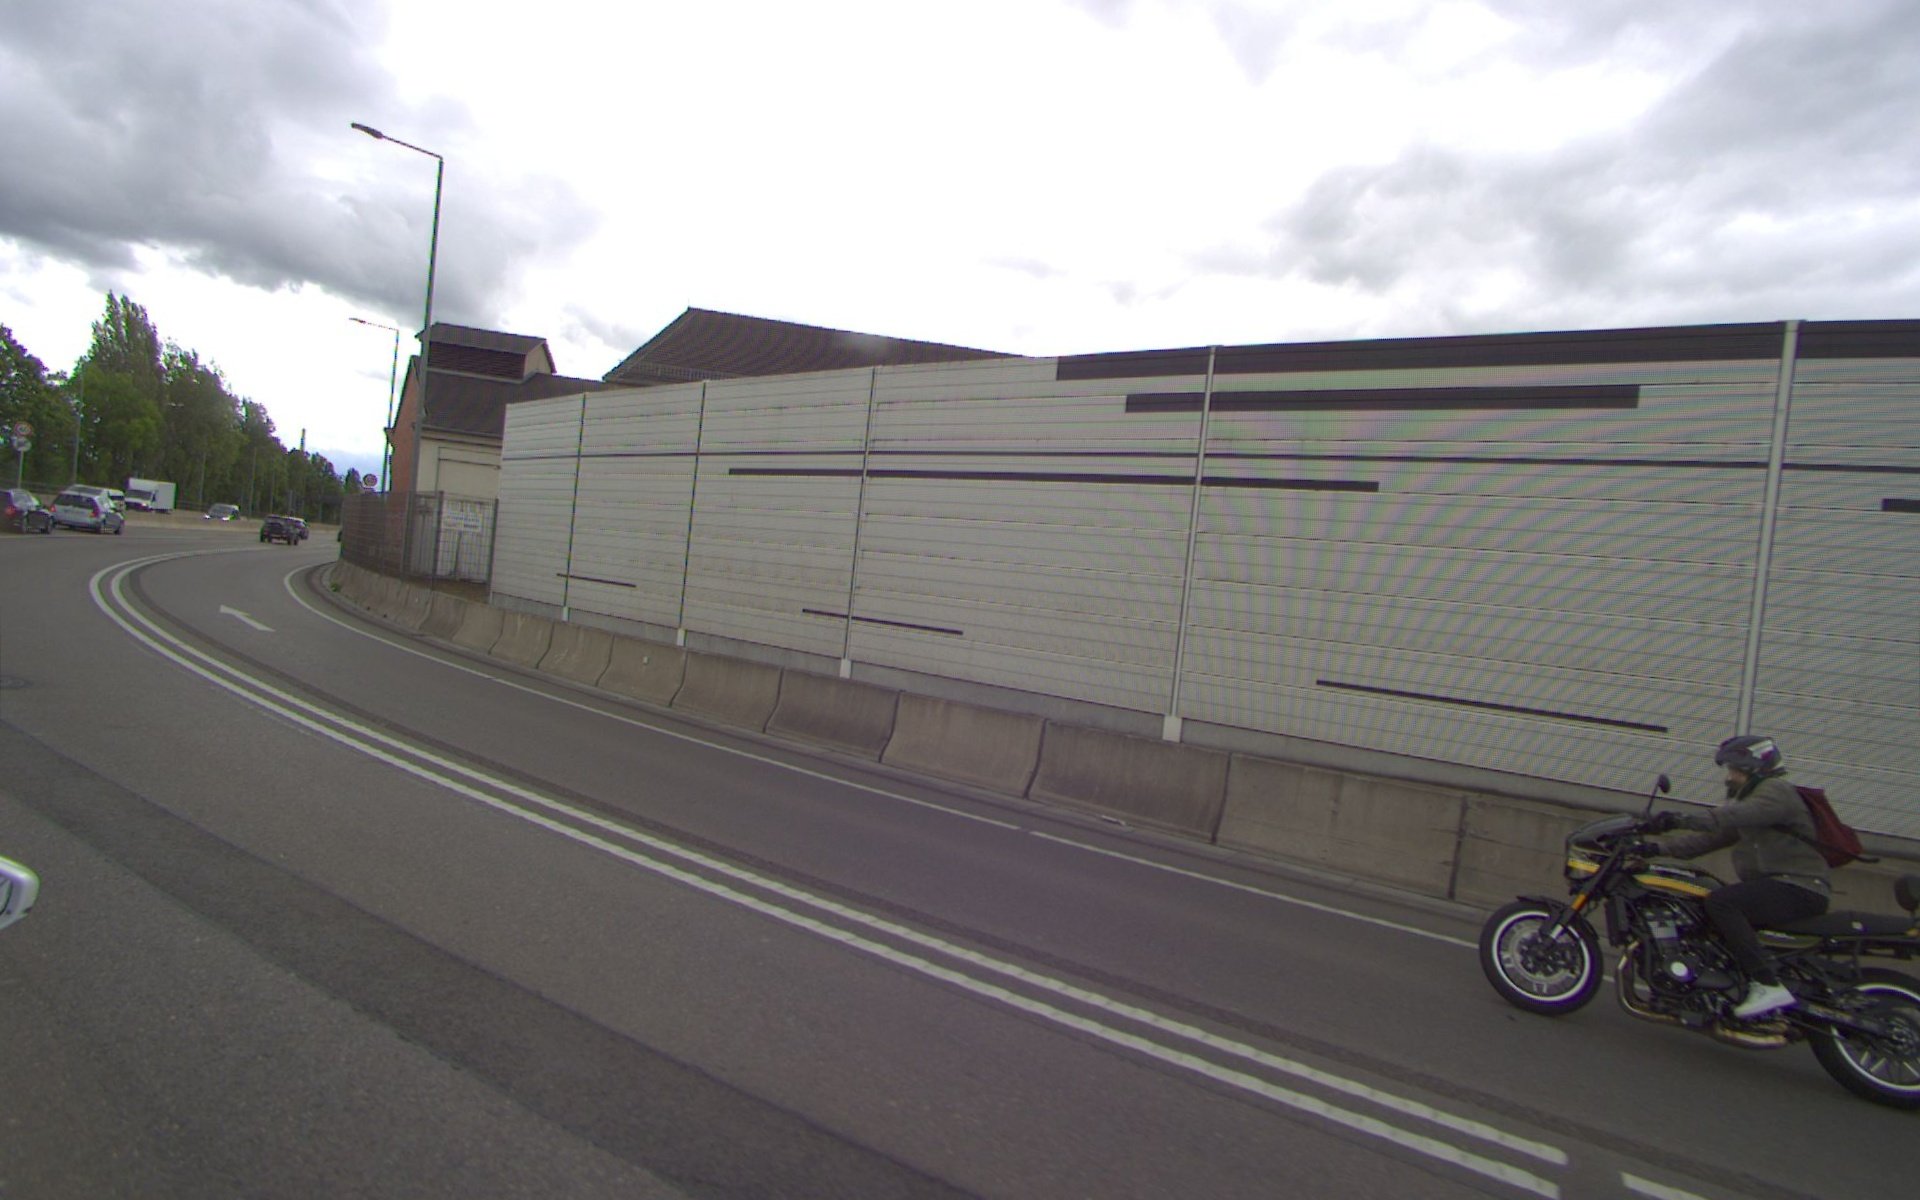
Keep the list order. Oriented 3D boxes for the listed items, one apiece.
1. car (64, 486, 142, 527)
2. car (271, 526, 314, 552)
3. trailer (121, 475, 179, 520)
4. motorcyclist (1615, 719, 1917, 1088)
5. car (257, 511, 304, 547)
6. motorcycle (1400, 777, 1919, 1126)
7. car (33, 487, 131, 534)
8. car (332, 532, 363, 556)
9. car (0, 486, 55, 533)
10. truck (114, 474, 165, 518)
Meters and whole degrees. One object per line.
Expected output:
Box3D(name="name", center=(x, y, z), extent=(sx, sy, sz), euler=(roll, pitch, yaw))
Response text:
Box3D(name="car", center=(-49.731, -5.378, 58.487), extent=(1.935, 1.828, 5.754), euler=(8, -1, -27))
Box3D(name="car", center=(-53.473, -4.851, 80.644), extent=(1.974, 1.692, 3.980), euler=(8, -2, -22))
Box3D(name="trailer", center=(-69.624, -8.738, 86.605), extent=(2.252, 3.174, 5.676), euler=(8, -1, -25))
Box3D(name="motorcyclist", center=(4.039, 1.440, 5.162), extent=(0.951, 1.495, 0.913), euler=(7, 1, 32))
Box3D(name="car", center=(-42.670, -4.420, 63.207), extent=(1.978, 1.882, 3.970), euler=(7, -1, -30))
Box3D(name="motorcycle", center=(3.835, 1.754, 5.277), extent=(2.621, 1.097, 0.744), euler=(7, 1, 32))
Box3D(name="car", center=(-36.219, -3.636, 41.638), extent=(1.903, 1.507, 4.039), euler=(7, 0, -26))
Box3D(name="car", center=(-55.791, -5.099, 91.696), extent=(1.977, 1.927, 3.972), euler=(7, -1, -29))
Box3D(name="car", center=(-31.922, -3.057, 33.425), extent=(1.800, 1.452, 4.034), euler=(6, 1, -29))
Box3D(name="truck", center=(-68.433, -8.643, 83.949), extent=(2.252, 3.151, 2.970), euler=(8, -1, -24))
